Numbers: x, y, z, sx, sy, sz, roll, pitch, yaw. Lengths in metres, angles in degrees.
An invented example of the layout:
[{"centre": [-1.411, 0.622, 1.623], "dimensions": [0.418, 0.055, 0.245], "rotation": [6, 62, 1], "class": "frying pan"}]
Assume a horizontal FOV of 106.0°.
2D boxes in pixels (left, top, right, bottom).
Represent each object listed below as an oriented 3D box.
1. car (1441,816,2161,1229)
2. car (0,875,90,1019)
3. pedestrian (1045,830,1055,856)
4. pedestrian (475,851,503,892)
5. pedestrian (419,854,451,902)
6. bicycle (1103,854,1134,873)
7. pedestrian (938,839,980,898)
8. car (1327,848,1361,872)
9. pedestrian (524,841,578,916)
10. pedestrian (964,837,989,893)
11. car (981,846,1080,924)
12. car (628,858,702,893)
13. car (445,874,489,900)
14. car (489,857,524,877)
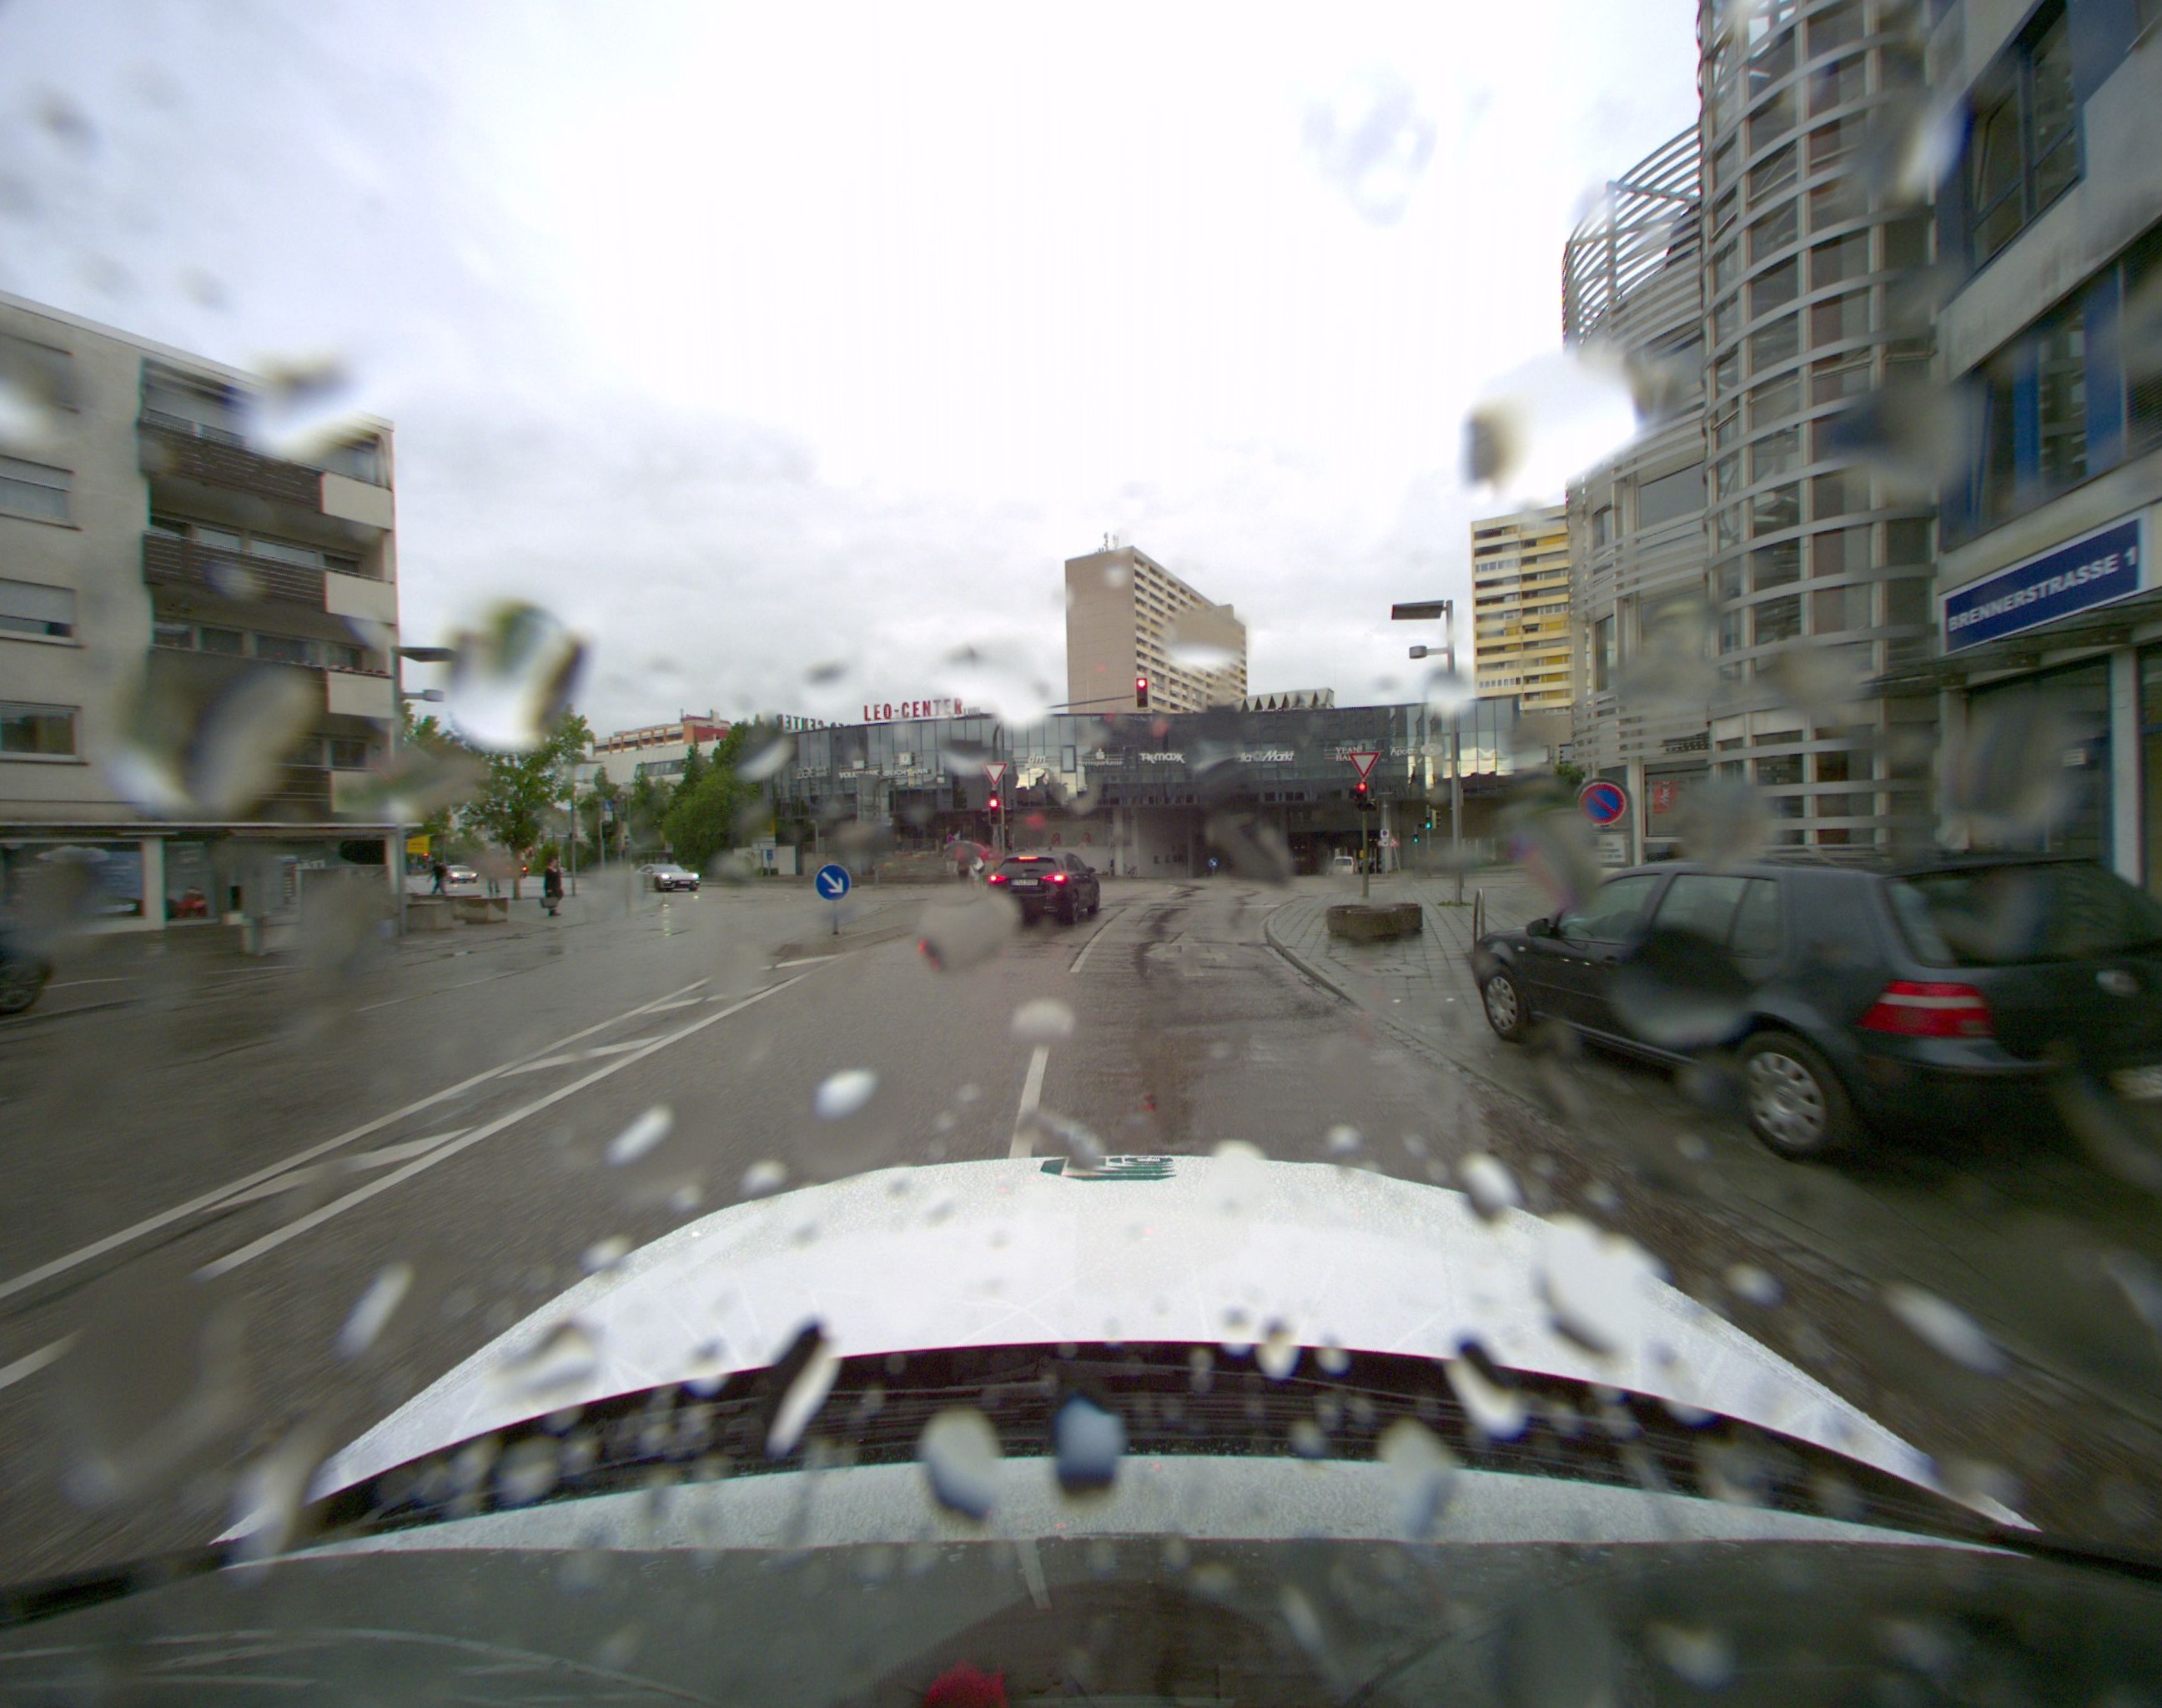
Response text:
[{"centre": [4.077, 0.620, 5.174], "dimensions": [1.693, 1.486, 3.999], "rotation": [-5, 1, -1], "class": "car"}, {"centre": [-12.533, 1.056, 7.504], "dimensions": [1.934, 1.541, 4.259], "rotation": [-1, 1, -9], "class": "car"}, {"centre": [-2.514, -0.881, 66.095], "dimensions": [0.785, 2.013, 0.670], "rotation": [-2, 0, 0], "class": "pedestrian"}, {"centre": [-30.167, 0.874, 41.515], "dimensions": [1.033, 2.013, 0.953], "rotation": [2, 1, -40], "class": "pedestrian"}, {"centre": [-28.155, 1.051, 35.501], "dimensions": [1.033, 2.013, 0.953], "rotation": [2, 1, -40], "class": "pedestrian"}, {"centre": [3.084, 0.769, 66.217], "dimensions": [2.426, 1.464, 0.653], "rotation": [-2, 2, -12], "class": "bicycle"}, {"centre": [-3.568, 0.420, 23.903], "dimensions": [0.916, 1.659, 0.747], "rotation": [2, 1, -37], "class": "pedestrian"}, {"centre": [20.298, 0.443, 62.757], "dimensions": [1.975, 1.717, 4.024], "rotation": [-2, 0, 25], "class": "car"}, {"centre": [-14.694, 0.672, 22.589], "dimensions": [0.743, 2.013, 0.924], "rotation": [2, 0, 11], "class": "pedestrian"}, {"centre": [-3.192, 0.324, 24.828], "dimensions": [0.610, 1.659, 0.669], "rotation": [2, 1, -15], "class": "pedestrian"}, {"centre": [-0.964, 0.576, 17.489], "dimensions": [1.798, 1.419, 4.000], "rotation": [-2, 1, 0], "class": "car"}, {"centre": [-21.534, 1.082, 42.097], "dimensions": [4.378, 1.512, 2.012], "rotation": [3, 1, 43], "class": "car"}, {"centre": [-51.969, 2.791, 68.886], "dimensions": [3.948, 2.013, 2.013], "rotation": [-2, 0, 39], "class": "car"}, {"centre": [-61.604, 1.437, 87.313], "dimensions": [3.948, 2.013, 2.013], "rotation": [-2, 0, 39], "class": "car"}]
